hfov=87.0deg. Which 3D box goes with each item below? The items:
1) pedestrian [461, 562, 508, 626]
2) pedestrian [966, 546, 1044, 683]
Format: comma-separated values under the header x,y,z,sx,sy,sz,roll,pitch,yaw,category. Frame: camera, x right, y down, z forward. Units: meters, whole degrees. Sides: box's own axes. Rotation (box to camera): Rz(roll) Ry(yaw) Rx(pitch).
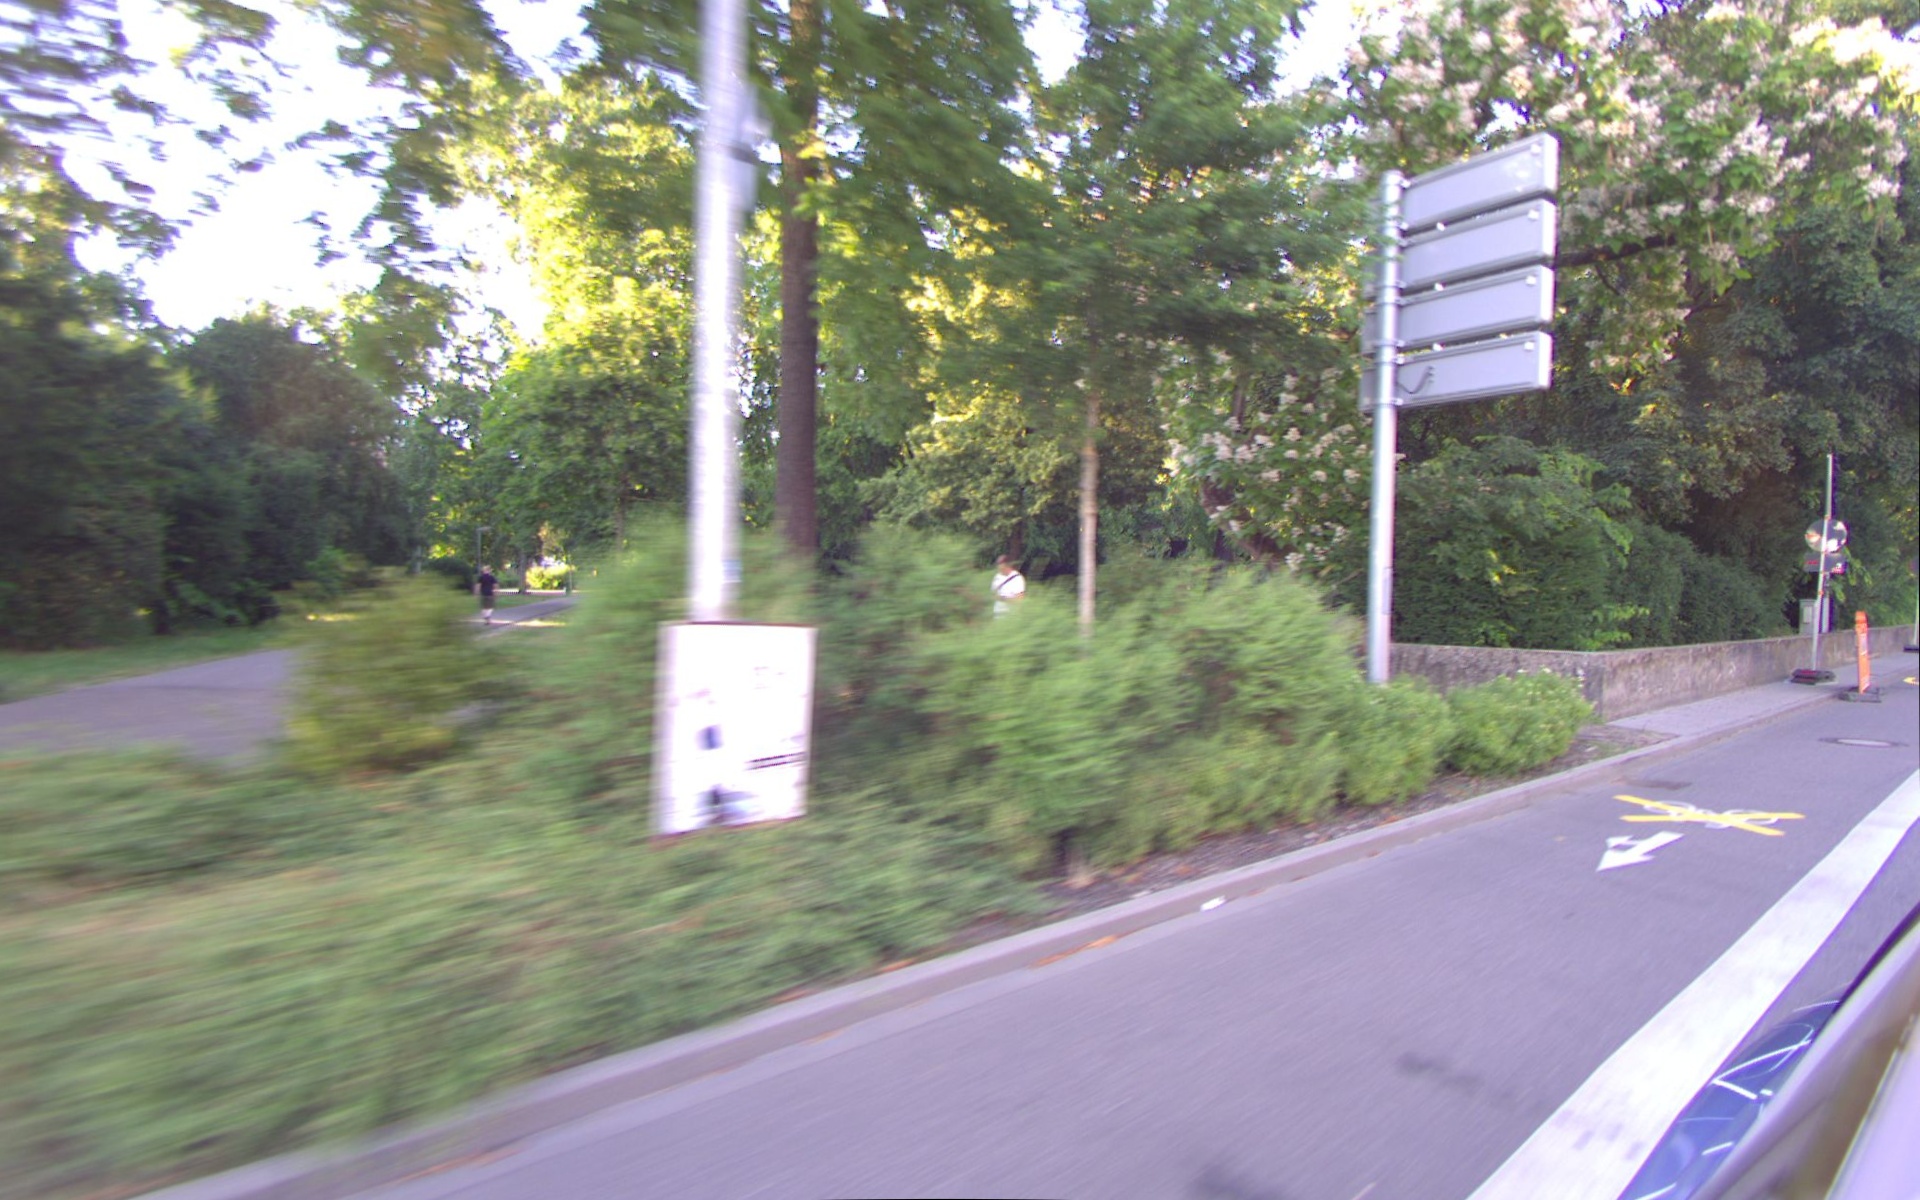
x,y,z,sx,sy,sz,roll,pitch,yaw,category
-13.056,-0.165,27.804,0.820,1.644,0.818,7,0,-10,pedestrian
0.633,0.184,14.208,0.790,1.855,0.763,1,1,36,pedestrian
